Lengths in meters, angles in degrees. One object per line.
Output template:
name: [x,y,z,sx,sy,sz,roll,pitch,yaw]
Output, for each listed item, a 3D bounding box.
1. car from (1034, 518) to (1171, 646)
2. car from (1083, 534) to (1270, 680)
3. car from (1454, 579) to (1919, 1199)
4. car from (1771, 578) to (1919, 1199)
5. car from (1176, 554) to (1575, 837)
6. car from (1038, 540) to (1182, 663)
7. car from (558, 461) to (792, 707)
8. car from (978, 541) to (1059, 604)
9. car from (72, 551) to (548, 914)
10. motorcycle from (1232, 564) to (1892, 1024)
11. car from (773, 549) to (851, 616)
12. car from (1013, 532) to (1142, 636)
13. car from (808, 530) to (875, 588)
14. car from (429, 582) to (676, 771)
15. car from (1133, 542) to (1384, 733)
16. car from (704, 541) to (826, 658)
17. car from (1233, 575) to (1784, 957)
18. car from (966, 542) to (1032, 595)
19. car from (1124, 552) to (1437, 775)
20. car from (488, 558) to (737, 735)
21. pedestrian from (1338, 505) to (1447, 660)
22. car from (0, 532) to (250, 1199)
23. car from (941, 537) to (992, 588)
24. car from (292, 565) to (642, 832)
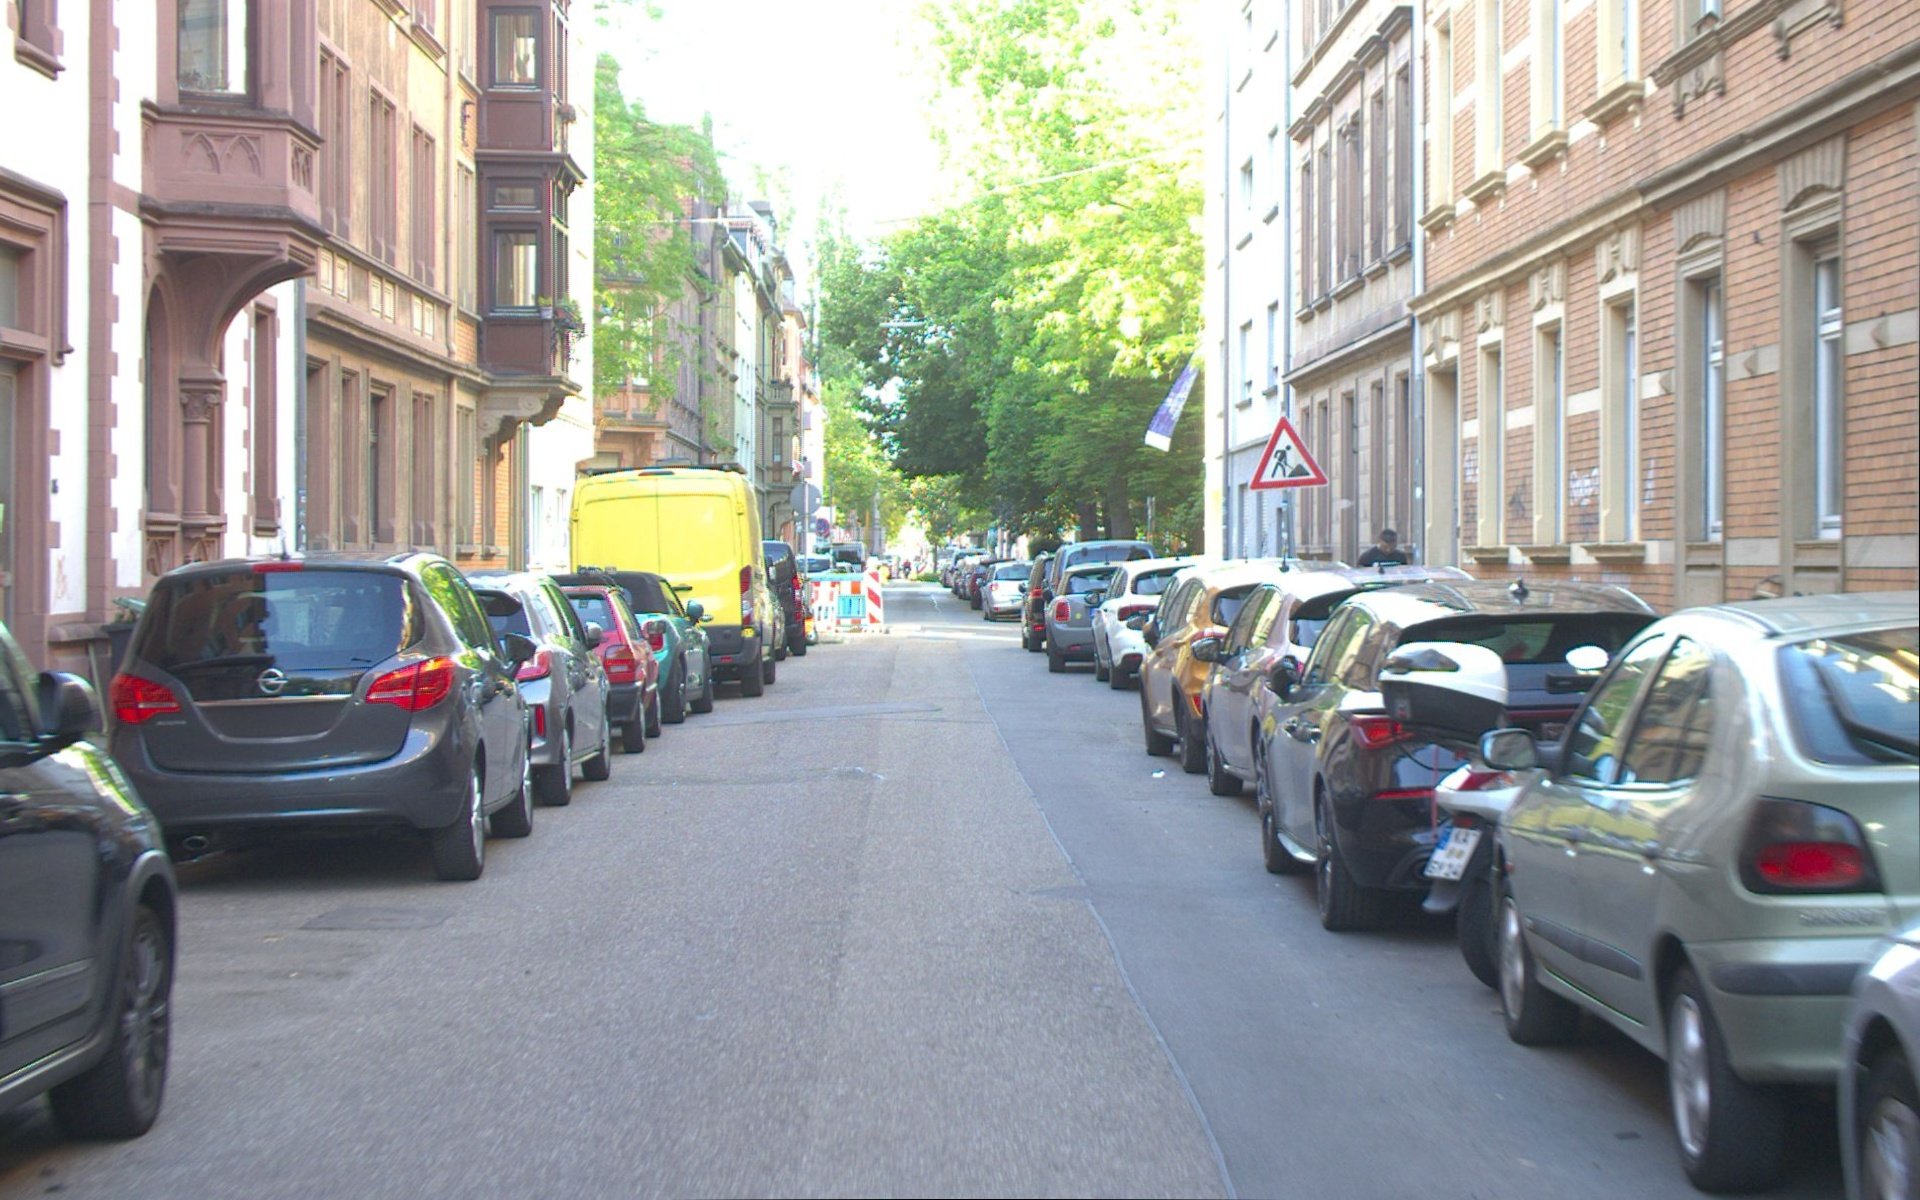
car: [2.158,-0.326,53.137,1.754,1.780,4.724,-4,1,-1]
car: [2.575,0.040,41.816,1.754,1.513,4.444,-5,1,-1]
car: [2.532,0.687,9.655,1.692,1.401,3.992,-1,1,0]
car: [2.494,0.733,4.589,1.762,1.479,4.401,-1,1,0]
car: [2.480,0.510,21.462,1.725,1.412,4.094,-5,1,-2]
car: [2.034,-0.018,47.703,1.754,1.448,4.288,-5,1,1]
car: [-3.189,-0.223,39.677,2.175,2.499,5.879,-3,1,-1]
car: [1.473,-0.710,87.238,1.723,1.517,4.001,-1,1,-3]
car: [-3.190,0.572,17.628,1.781,1.600,4.070,-1,1,-2]
motorcycle: [2.184,0.660,12.429,2.218,1.531,0.890,1,1,-26]
car: [-4.005,-0.480,93.611,1.882,1.701,4.000,-2,0,0]
car: [1.935,-0.278,57.808,1.900,1.634,4.391,-1,0,-1]
car: [-4.493,-1.554,131.374,2.309,2.107,5.170,-1,0,0]
car: [-3.306,0.580,28.411,1.618,1.322,3.613,-4,1,-1]
car: [2.631,0.283,31.179,1.720,1.475,4.083,-5,1,-1]
car: [-3.097,-0.041,54.463,1.818,1.760,4.336,-1,1,-3]
car: [2.312,0.631,15.567,1.777,1.392,4.317,-1,1,0]
car: [1.209,-0.997,108.521,1.894,1.620,4.000,-1,0,-1]
car: [2.352,0.420,26.205,1.753,1.441,4.069,-4,1,-2]
car: [-3.266,0.398,33.011,1.718,1.408,3.897,-6,1,2]
pedestrian: [4.655,-0.185,37.010,0.654,1.625,0.880,-3,0,-42]
car: [-2.950,0.665,7.856,1.761,1.612,4.189,-1,1,0]
car: [0.297,-1.728,158.908,2.160,2.248,4.526,-1,0,-2]
car: [-3.163,0.577,22.758,1.694,1.469,3.919,-4,1,0]
